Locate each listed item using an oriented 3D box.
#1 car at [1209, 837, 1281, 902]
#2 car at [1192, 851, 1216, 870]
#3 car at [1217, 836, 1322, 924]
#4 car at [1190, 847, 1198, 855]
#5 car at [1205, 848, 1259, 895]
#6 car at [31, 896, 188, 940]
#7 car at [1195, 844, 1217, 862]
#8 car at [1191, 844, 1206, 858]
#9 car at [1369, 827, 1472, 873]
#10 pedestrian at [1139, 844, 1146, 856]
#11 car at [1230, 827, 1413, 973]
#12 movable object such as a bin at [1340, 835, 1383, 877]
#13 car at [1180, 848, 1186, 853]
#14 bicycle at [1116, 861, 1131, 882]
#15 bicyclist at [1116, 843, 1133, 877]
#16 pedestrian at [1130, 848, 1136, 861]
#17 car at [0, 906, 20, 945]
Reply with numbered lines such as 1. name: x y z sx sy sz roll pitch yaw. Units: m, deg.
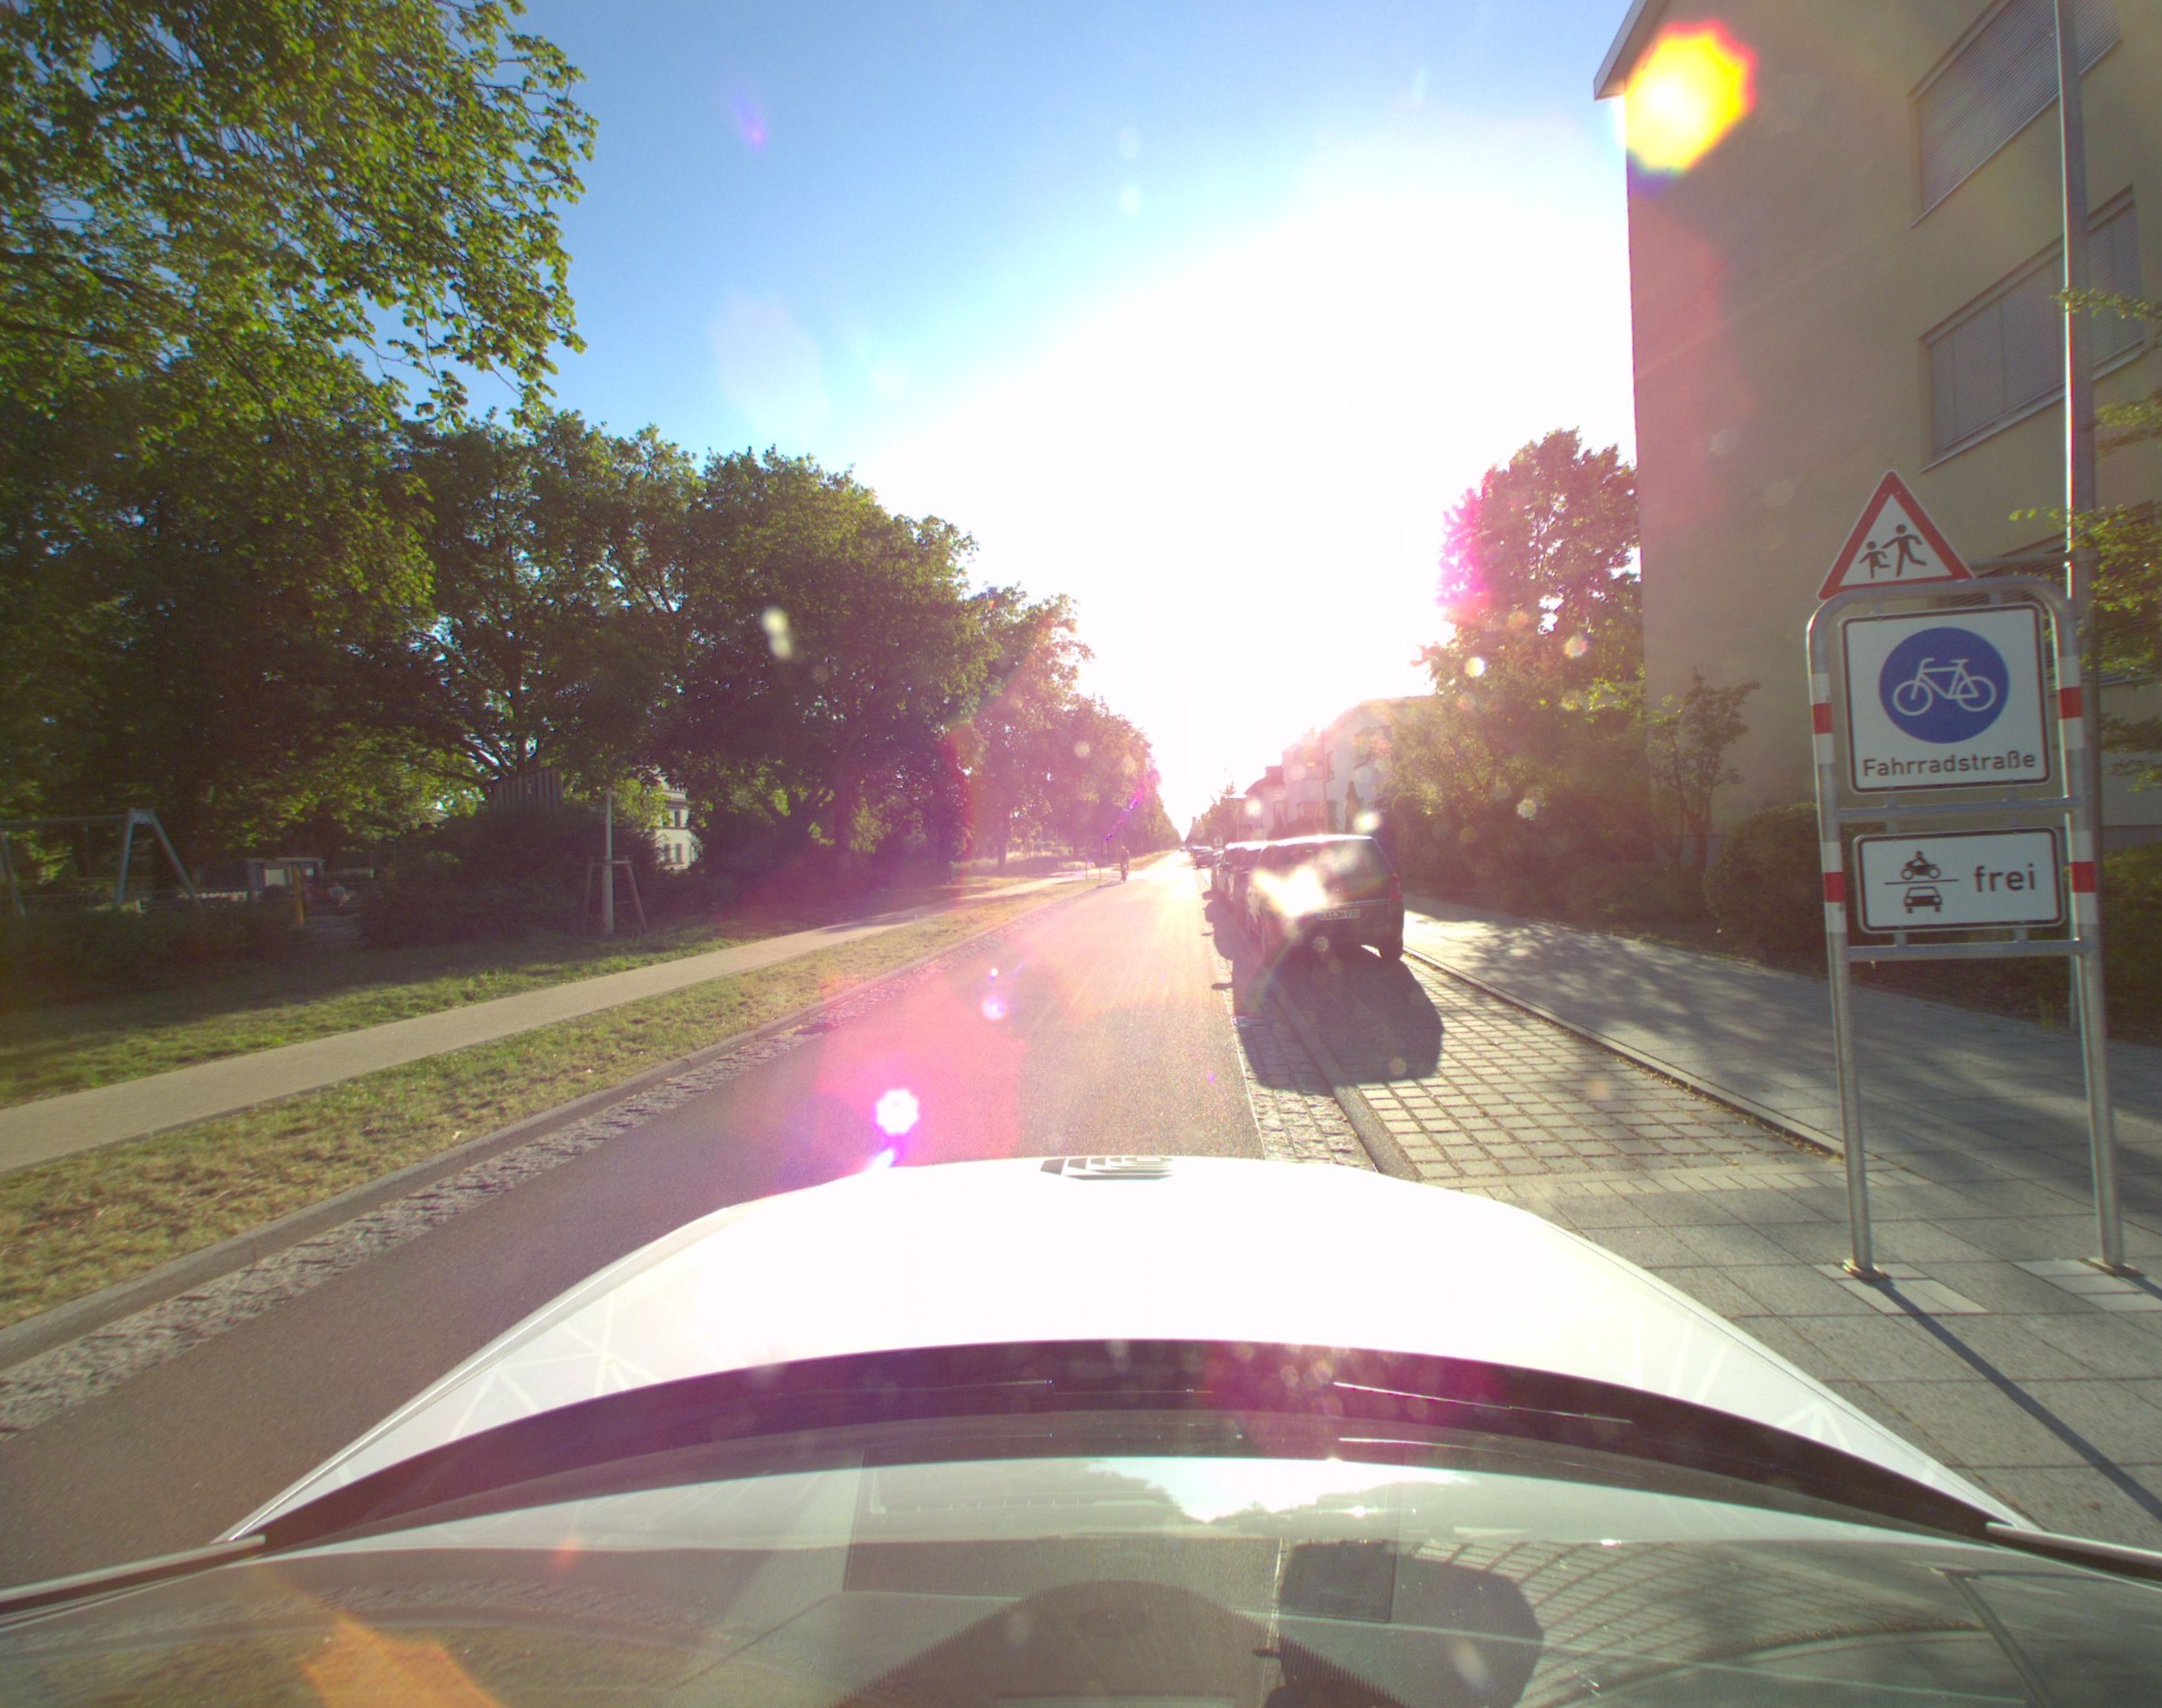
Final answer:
1. car: 4.490 0.372 22.788 1.669 1.555 4.140 -4 0 8
2. car: 9.799 0.507 65.003 1.765 1.288 4.282 -5 1 8
3. car: 3.908 0.480 17.512 1.670 1.555 4.152 -4 0 7
4. car: 22.706 -0.564 164.001 1.489 1.567 3.274 -3 0 8
5. car: 5.181 0.547 28.333 1.555 1.390 4.384 -4 0 8
6. car: -38.749 2.515 32.622 1.513 1.367 3.761 -2 0 9
7. car: 11.663 -0.076 76.360 1.735 1.474 3.929 -5 0 6
8. car: 13.905 -0.358 96.387 1.618 1.504 3.641 -4 0 8
9. car: 13.246 -0.143 31.957 3.467 1.641 1.650 -2 0 15
10. pedestrian: 8.523 -0.502 113.235 0.778 1.614 0.955 -2 0 11
11. car: 3.212 0.529 11.699 1.701 1.610 4.176 -4 0 6
12. movable object such as a bin: 9.938 0.062 28.892 1.230 1.432 1.126 -2 0 9
13. car: 30.817 -1.126 246.100 1.643 1.541 3.273 -1 0 7
14. bicycle: 2.144 0.870 40.950 0.553 1.032 1.918 -3 -1 7
15. bicyclist: 2.173 0.307 40.961 0.678 1.673 1.175 -3 -1 7
16. pedestrian: 7.233 0.058 113.203 0.620 1.831 0.889 -2 0 11
17. car: -39.876 2.629 28.032 1.513 1.367 3.761 -2 0 9
